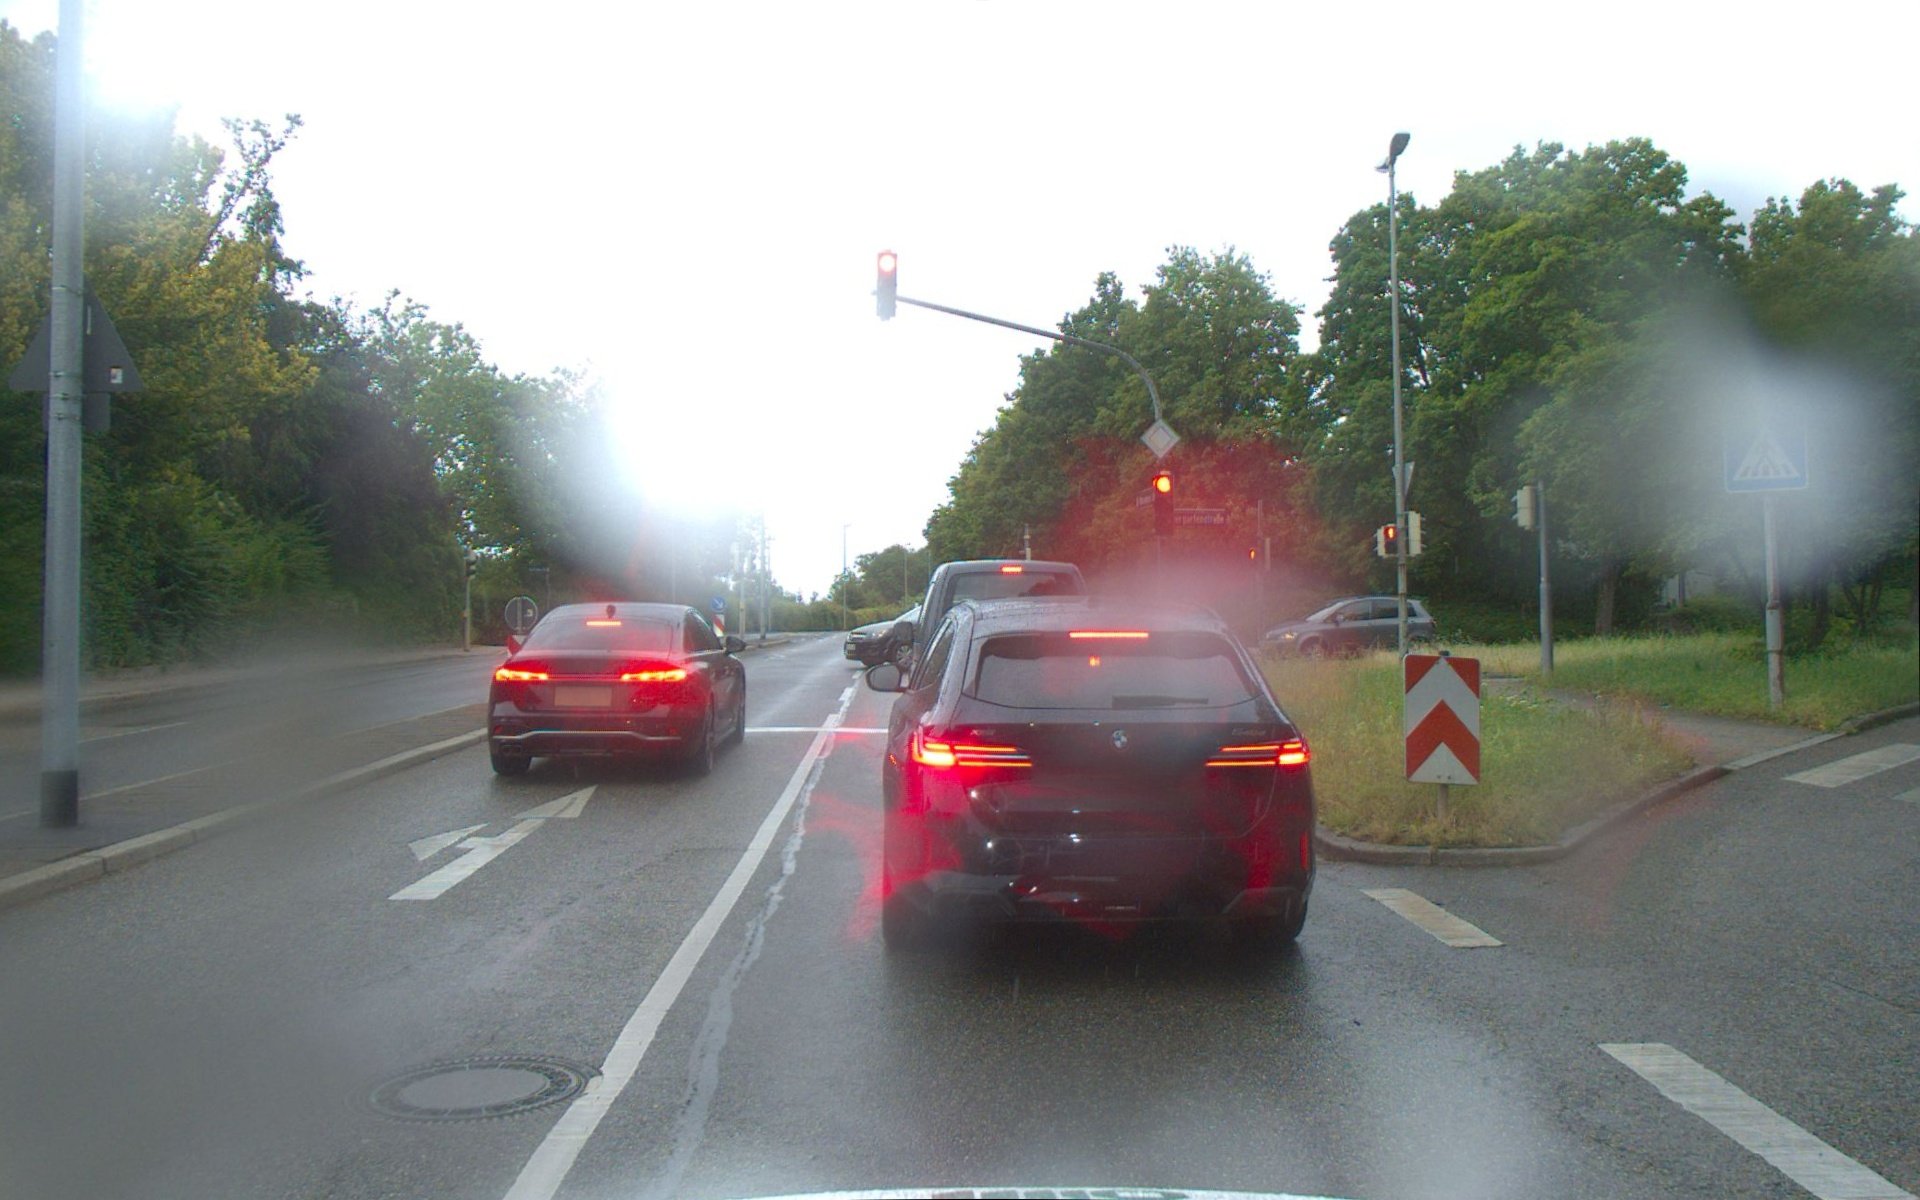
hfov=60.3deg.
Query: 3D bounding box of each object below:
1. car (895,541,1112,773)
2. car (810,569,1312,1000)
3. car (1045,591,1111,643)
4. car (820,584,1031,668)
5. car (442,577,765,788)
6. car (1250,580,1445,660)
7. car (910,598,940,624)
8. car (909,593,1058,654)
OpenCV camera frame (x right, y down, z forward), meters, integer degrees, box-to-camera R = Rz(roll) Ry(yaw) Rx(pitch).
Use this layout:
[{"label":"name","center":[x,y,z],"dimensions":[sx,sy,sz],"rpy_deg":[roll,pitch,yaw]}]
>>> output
[{"label":"car","center":[0.348,0.480,15.592],"dimensions":[1.781,1.901,3.952],"rpy_deg":[0,0,0]},{"label":"car","center":[0.481,0.721,8.482],"dimensions":[1.858,1.578,4.616],"rpy_deg":[1,-1,3]},{"label":"car","center":[3.862,0.559,54.713],"dimensions":[1.835,1.569,3.952],"rpy_deg":[-2,0,0]},{"label":"car","center":[-0.724,0.516,34.086],"dimensions":[3.933,1.535,1.888],"rpy_deg":[-2,0,-23]},{"label":"car","center":[-3.012,0.648,14.944],"dimensions":[1.953,1.554,4.327],"rpy_deg":[-2,0,0]},{"label":"car","center":[8.793,0.434,37.650],"dimensions":[3.946,1.630,1.744],"rpy_deg":[-2,0,-11]},{"label":"car","center":[-2.394,0.754,114.348],"dimensions":[1.953,1.652,3.952],"rpy_deg":[-2,0,0]},{"label":"car","center":[0.590,0.603,42.733],"dimensions":[3.437,1.452,1.700],"rpy_deg":[-2,0,30]}]
